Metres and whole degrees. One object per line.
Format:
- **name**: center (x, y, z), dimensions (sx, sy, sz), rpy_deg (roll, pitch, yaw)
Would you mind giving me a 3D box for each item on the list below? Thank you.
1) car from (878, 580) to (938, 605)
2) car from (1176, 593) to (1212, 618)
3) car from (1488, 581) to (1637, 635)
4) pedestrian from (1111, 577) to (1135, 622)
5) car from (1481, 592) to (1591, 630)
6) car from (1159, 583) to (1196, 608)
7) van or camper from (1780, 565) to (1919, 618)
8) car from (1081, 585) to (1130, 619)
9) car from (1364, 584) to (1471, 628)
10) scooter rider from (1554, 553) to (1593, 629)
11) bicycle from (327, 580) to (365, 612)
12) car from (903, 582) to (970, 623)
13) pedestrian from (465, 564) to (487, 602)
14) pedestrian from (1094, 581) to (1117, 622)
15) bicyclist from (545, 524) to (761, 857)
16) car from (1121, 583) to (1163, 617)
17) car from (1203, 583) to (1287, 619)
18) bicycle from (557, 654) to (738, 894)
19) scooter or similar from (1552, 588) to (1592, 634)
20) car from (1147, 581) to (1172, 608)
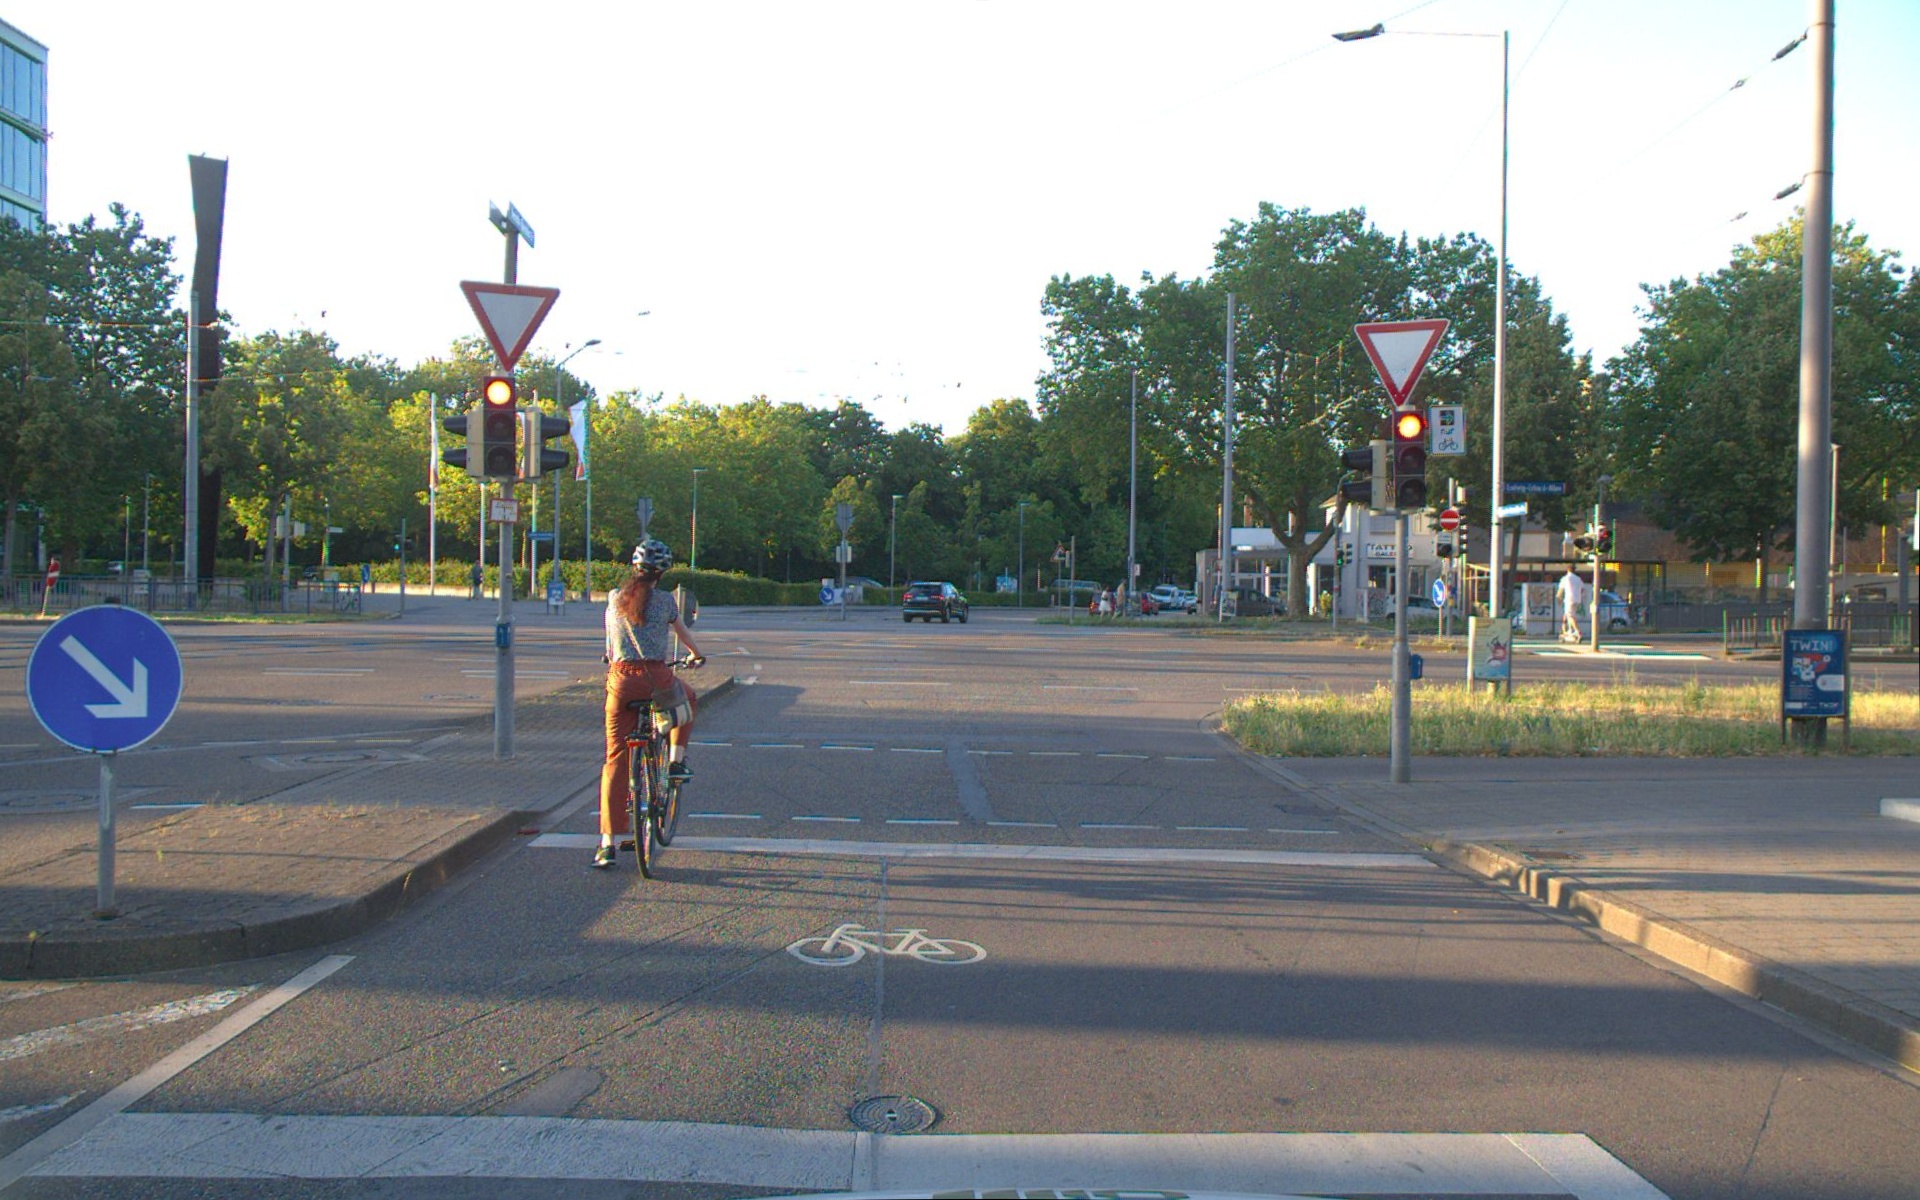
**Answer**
- **car**: center (-3.419, -0.524, 109.465), dimensions (3.905, 1.588, 2.000), rpy_deg (1, 0, 1)
- **car**: center (16.382, 0.355, 115.671), dimensions (1.875, 1.630, 4.002), rpy_deg (1, 1, 17)
- **car**: center (20.816, 0.264, 57.232), dimensions (4.445, 1.758, 1.860), rpy_deg (1, 0, -5)
- **pedestrian**: center (6.658, -0.022, 67.604), dimensions (0.704, 1.785, 0.897), rpy_deg (1, 0, 23)
- **car**: center (25.336, 0.467, 72.808), dimensions (4.142, 1.605, 2.001), rpy_deg (1, 0, 2)
- **car**: center (17.905, -0.385, 136.043), dimensions (1.953, 2.049, 3.998), rpy_deg (1, 1, 24)
- **van or camper**: center (43.662, -0.396, 80.352), dimensions (6.426, 2.452, 2.265), rpy_deg (1, 0, 3)
- **car**: center (8.459, 0.104, 95.824), dimensions (1.829, 1.907, 3.875), rpy_deg (1, 1, 20)
- **car**: center (20.096, 0.249, 72.796), dimensions (4.142, 1.878, 2.001), rpy_deg (1, 0, 2)
- **scooter rider**: center (15.263, -0.221, 41.162), dimensions (0.688, 1.887, 0.669), rpy_deg (1, -1, -1)
- **bicycle**: center (-23.125, -0.166, 62.318), dimensions (0.685, 1.156, 2.391), rpy_deg (1, 1, -3)
- **car**: center (-0.910, 0.125, 66.312), dimensions (1.718, 1.568, 4.404), rpy_deg (1, -1, 12)
- **pedestrian**: center (-22.963, -0.784, 78.537), dimensions (0.884, 1.785, 0.715), rpy_deg (1, 0, -26)
- **pedestrian**: center (5.997, 0.062, 68.197), dimensions (0.704, 1.667, 0.897), rpy_deg (1, 0, 23)
- **bicyclist**: center (-1.681, 0.473, 9.229), dimensions (1.011, 1.748, 0.996), rpy_deg (1, 0, -1)
- **car**: center (11.386, -0.029, 103.483), dimensions (1.875, 2.083, 4.002), rpy_deg (1, 1, 17)
- **car**: center (15.327, 0.041, 89.191), dimensions (4.285, 1.867, 1.950), rpy_deg (1, 1, 4)
- **bicycle**: center (-1.683, 0.893, 9.216), dimensions (0.621, 1.086, 2.122), rpy_deg (1, 1, -1)
- **scooter or similar**: center (15.202, 0.263, 41.126), dimensions (0.499, 1.109, 1.243), rpy_deg (1, 0, -1)
- **car**: center (15.830, -0.441, 131.416), dimensions (1.951, 2.049, 4.003), rpy_deg (1, 1, 6)
